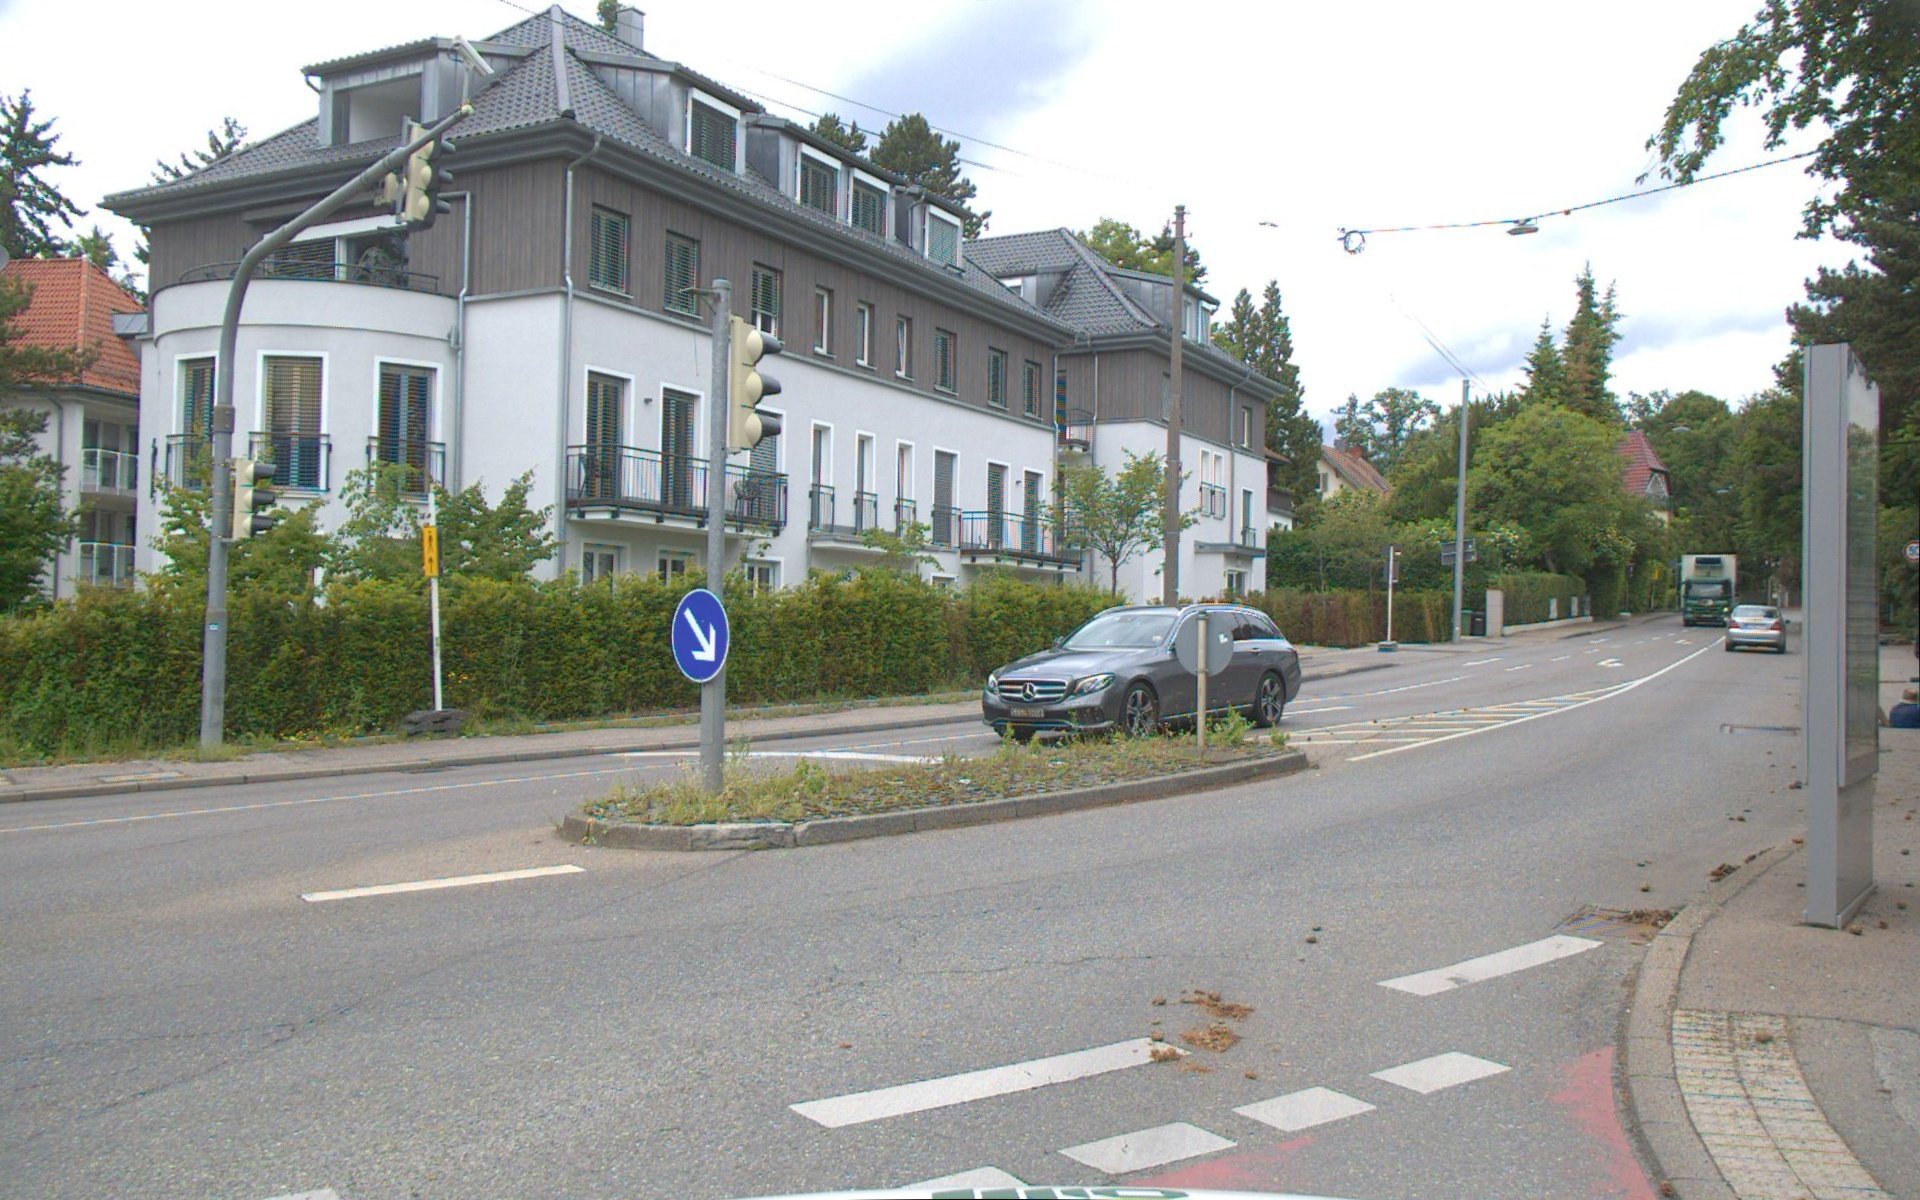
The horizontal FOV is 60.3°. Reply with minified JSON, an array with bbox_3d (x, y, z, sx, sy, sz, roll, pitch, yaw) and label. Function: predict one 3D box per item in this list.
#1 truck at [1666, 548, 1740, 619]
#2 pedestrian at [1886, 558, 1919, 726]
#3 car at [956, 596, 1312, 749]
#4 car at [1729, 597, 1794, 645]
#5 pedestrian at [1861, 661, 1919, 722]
[{"bbox_3d":[38.365,-0.772,85.596,2.719,3.522,7.496,0,-1,18],"label":"truck"},{"bbox_3d":[11.547,0.484,19.534,0.828,1.957,0.802,0,0,8],"label":"pedestrian"},{"bbox_3d":[2.148,0.749,19.205,1.797,1.511,4.723,-1,0,40],"label":"car"},{"bbox_3d":[25.030,0.659,51.664,1.762,1.440,4.331,0,-1,26],"label":"car"},{"bbox_3d":[11.632,1.127,20.456,0.633,0.709,0.583,0,0,-13],"label":"pedestrian"}]
